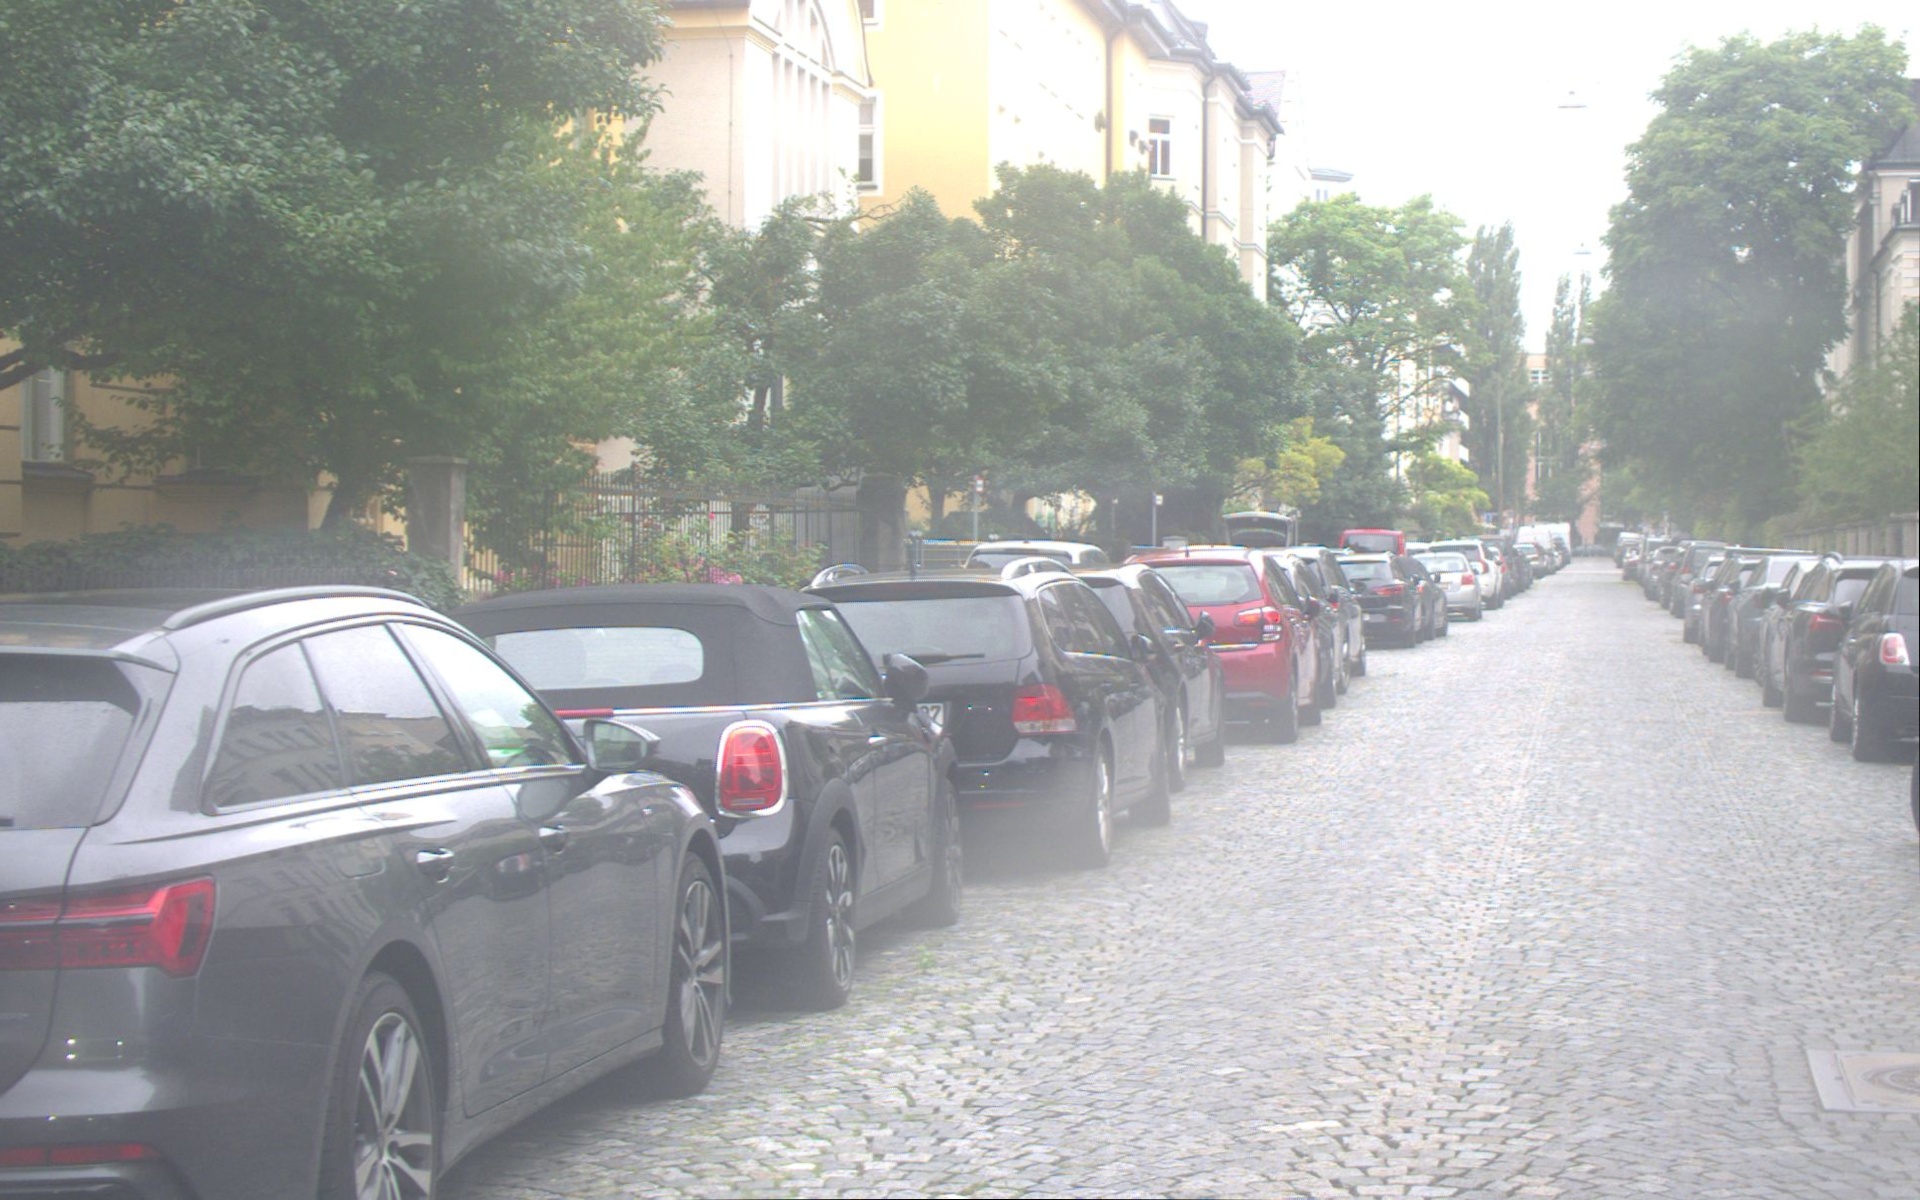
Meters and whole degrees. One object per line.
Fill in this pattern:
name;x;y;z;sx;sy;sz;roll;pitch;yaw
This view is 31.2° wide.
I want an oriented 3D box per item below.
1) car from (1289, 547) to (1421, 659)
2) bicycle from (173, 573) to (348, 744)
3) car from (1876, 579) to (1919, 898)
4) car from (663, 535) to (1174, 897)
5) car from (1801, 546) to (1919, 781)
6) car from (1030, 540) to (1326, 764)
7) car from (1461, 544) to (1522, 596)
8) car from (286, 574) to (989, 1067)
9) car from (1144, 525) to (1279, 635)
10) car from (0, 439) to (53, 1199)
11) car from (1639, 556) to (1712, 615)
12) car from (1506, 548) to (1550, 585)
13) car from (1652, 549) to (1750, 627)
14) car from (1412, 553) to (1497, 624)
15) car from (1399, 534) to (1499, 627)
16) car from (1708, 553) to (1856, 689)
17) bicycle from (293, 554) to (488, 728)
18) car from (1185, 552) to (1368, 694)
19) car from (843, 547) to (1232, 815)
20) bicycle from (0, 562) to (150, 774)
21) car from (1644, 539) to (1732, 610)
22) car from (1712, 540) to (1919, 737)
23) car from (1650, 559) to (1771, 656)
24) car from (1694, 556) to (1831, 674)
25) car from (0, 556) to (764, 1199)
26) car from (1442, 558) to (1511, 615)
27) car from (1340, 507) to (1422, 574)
car;6.073;0.028;52.585;1.922;1.630;3.738;1;0;8
bicycle;-4.409;0.350;21.773;0.418;1.024;1.764;2;1;11
car;5.422;0.678;15.884;1.923;1.429;4.799;3;1;11
car;-0.064;0.511;17.367;1.727;1.535;4.334;-3;0;10
car;7.502;0.462;26.164;1.923;1.629;4.044;3;1;12
car;1.858;0.396;28.156;1.922;1.630;3.804;-3;0;10
car;18.018;-1.007;116.467;1.922;1.630;3.737;-3;0;10
car;-1.024;0.698;12.778;1.704;1.511;3.725;-1;1;9
car;3.952;-0.317;53.497;1.779;1.630;3.738;1;0;9
car;-2.812;0.633;2.991;1.938;1.646;5.052;-3;0;10
car;21.202;-0.430;101.975;1.922;1.630;3.737;-3;0;10
car;26.555;-1.559;160.807;1.922;1.630;3.737;-3;0;10
car;16.767;-0.277;77.889;1.922;1.630;3.737;-3;0;10
car;12.356;-0.287;85.742;1.922;1.630;3.737;-3;0;10
car;10.397;-0.410;72.913;1.922;1.832;3.737;-3;0;10
car;9.874;0.235;41.207;1.598;1.497;3.260;-3;0;14
bicycle;-3.878;0.269;23.542;0.419;1.139;1.762;2;1;23
car;3.634;0.235;39.004;1.661;1.529;3.483;0;0;12
car;0.613;0.491;22.805;1.922;1.541;3.998;-3;0;10
bicycle;-5.032;0.351;18.754;0.371;1.098;1.832;1;1;14
car;18.121;-0.629;85.714;1.922;1.630;3.737;-3;0;10
car;7.492;0.305;30.317;1.661;1.630;3.537;0;0;12
car;12.220;0.109;56.142;1.661;1.460;3.447;-3;0;9
car;10.768;0.181;46.183;1.661;1.451;3.446;-3;0;13
car;-1.869;0.682;8.194;1.805;1.499;5.176;-2;1;8
car;15.829;-0.412;105.266;1.922;1.630;3.737;-3;0;10
car;11.261;-1.569;91.751;1.922;1.630;3.737;-3;0;10
